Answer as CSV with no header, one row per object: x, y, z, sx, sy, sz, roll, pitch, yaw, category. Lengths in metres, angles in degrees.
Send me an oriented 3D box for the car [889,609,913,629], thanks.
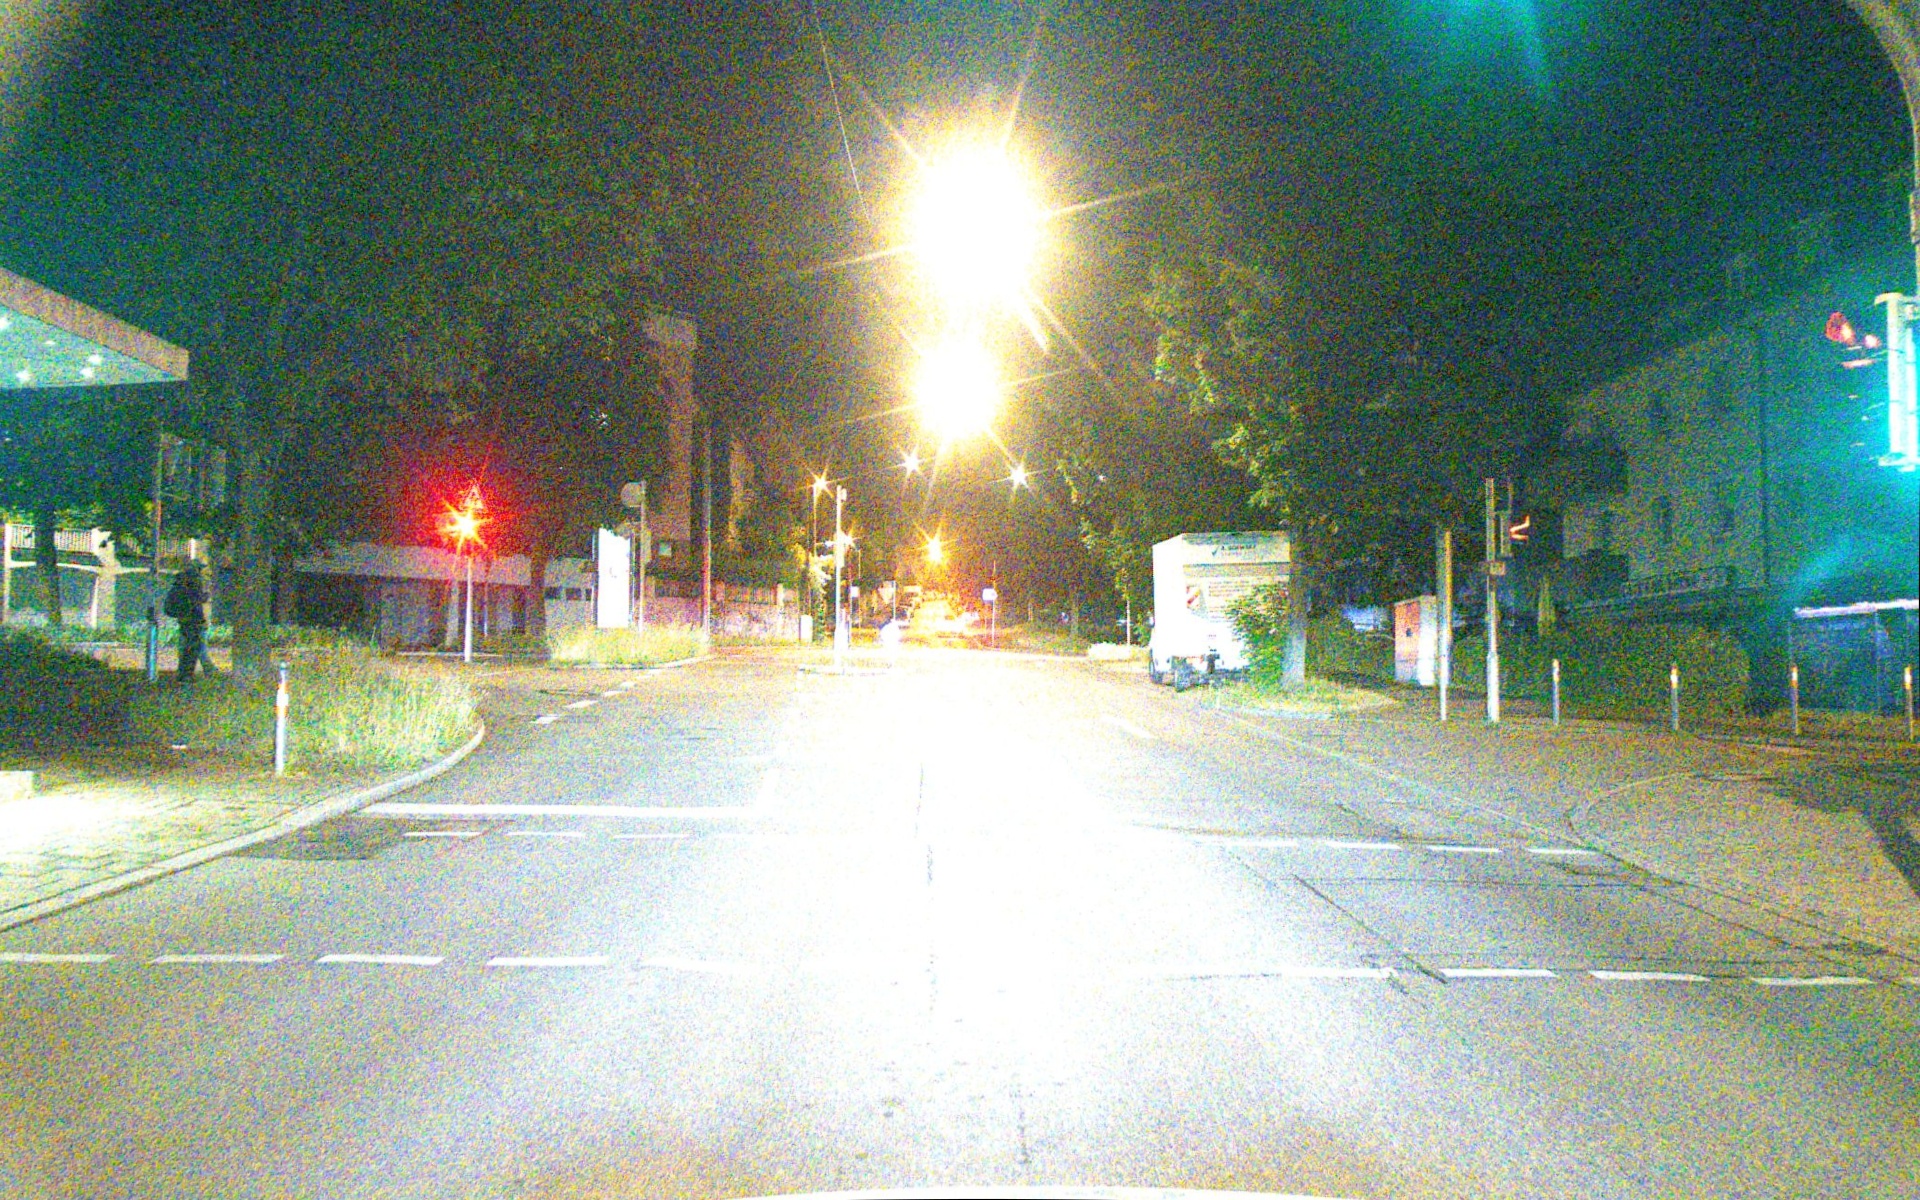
-4.762,1.531,134.026,1.869,1.585,3.903,1,-1,-1,car

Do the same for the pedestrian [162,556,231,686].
-10.960,0.302,23.771,0.558,1.809,0.737,3,-1,-1,pedestrian

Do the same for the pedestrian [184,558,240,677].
-11.328,0.264,25.060,0.558,1.761,0.543,1,-1,-1,pedestrian

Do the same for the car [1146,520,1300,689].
5.275,0.113,34.049,2.249,3.147,5.840,-1,-1,1,car

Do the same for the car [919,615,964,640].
-1.199,1.753,105.924,1.748,1.512,3.980,1,-1,-18,car
